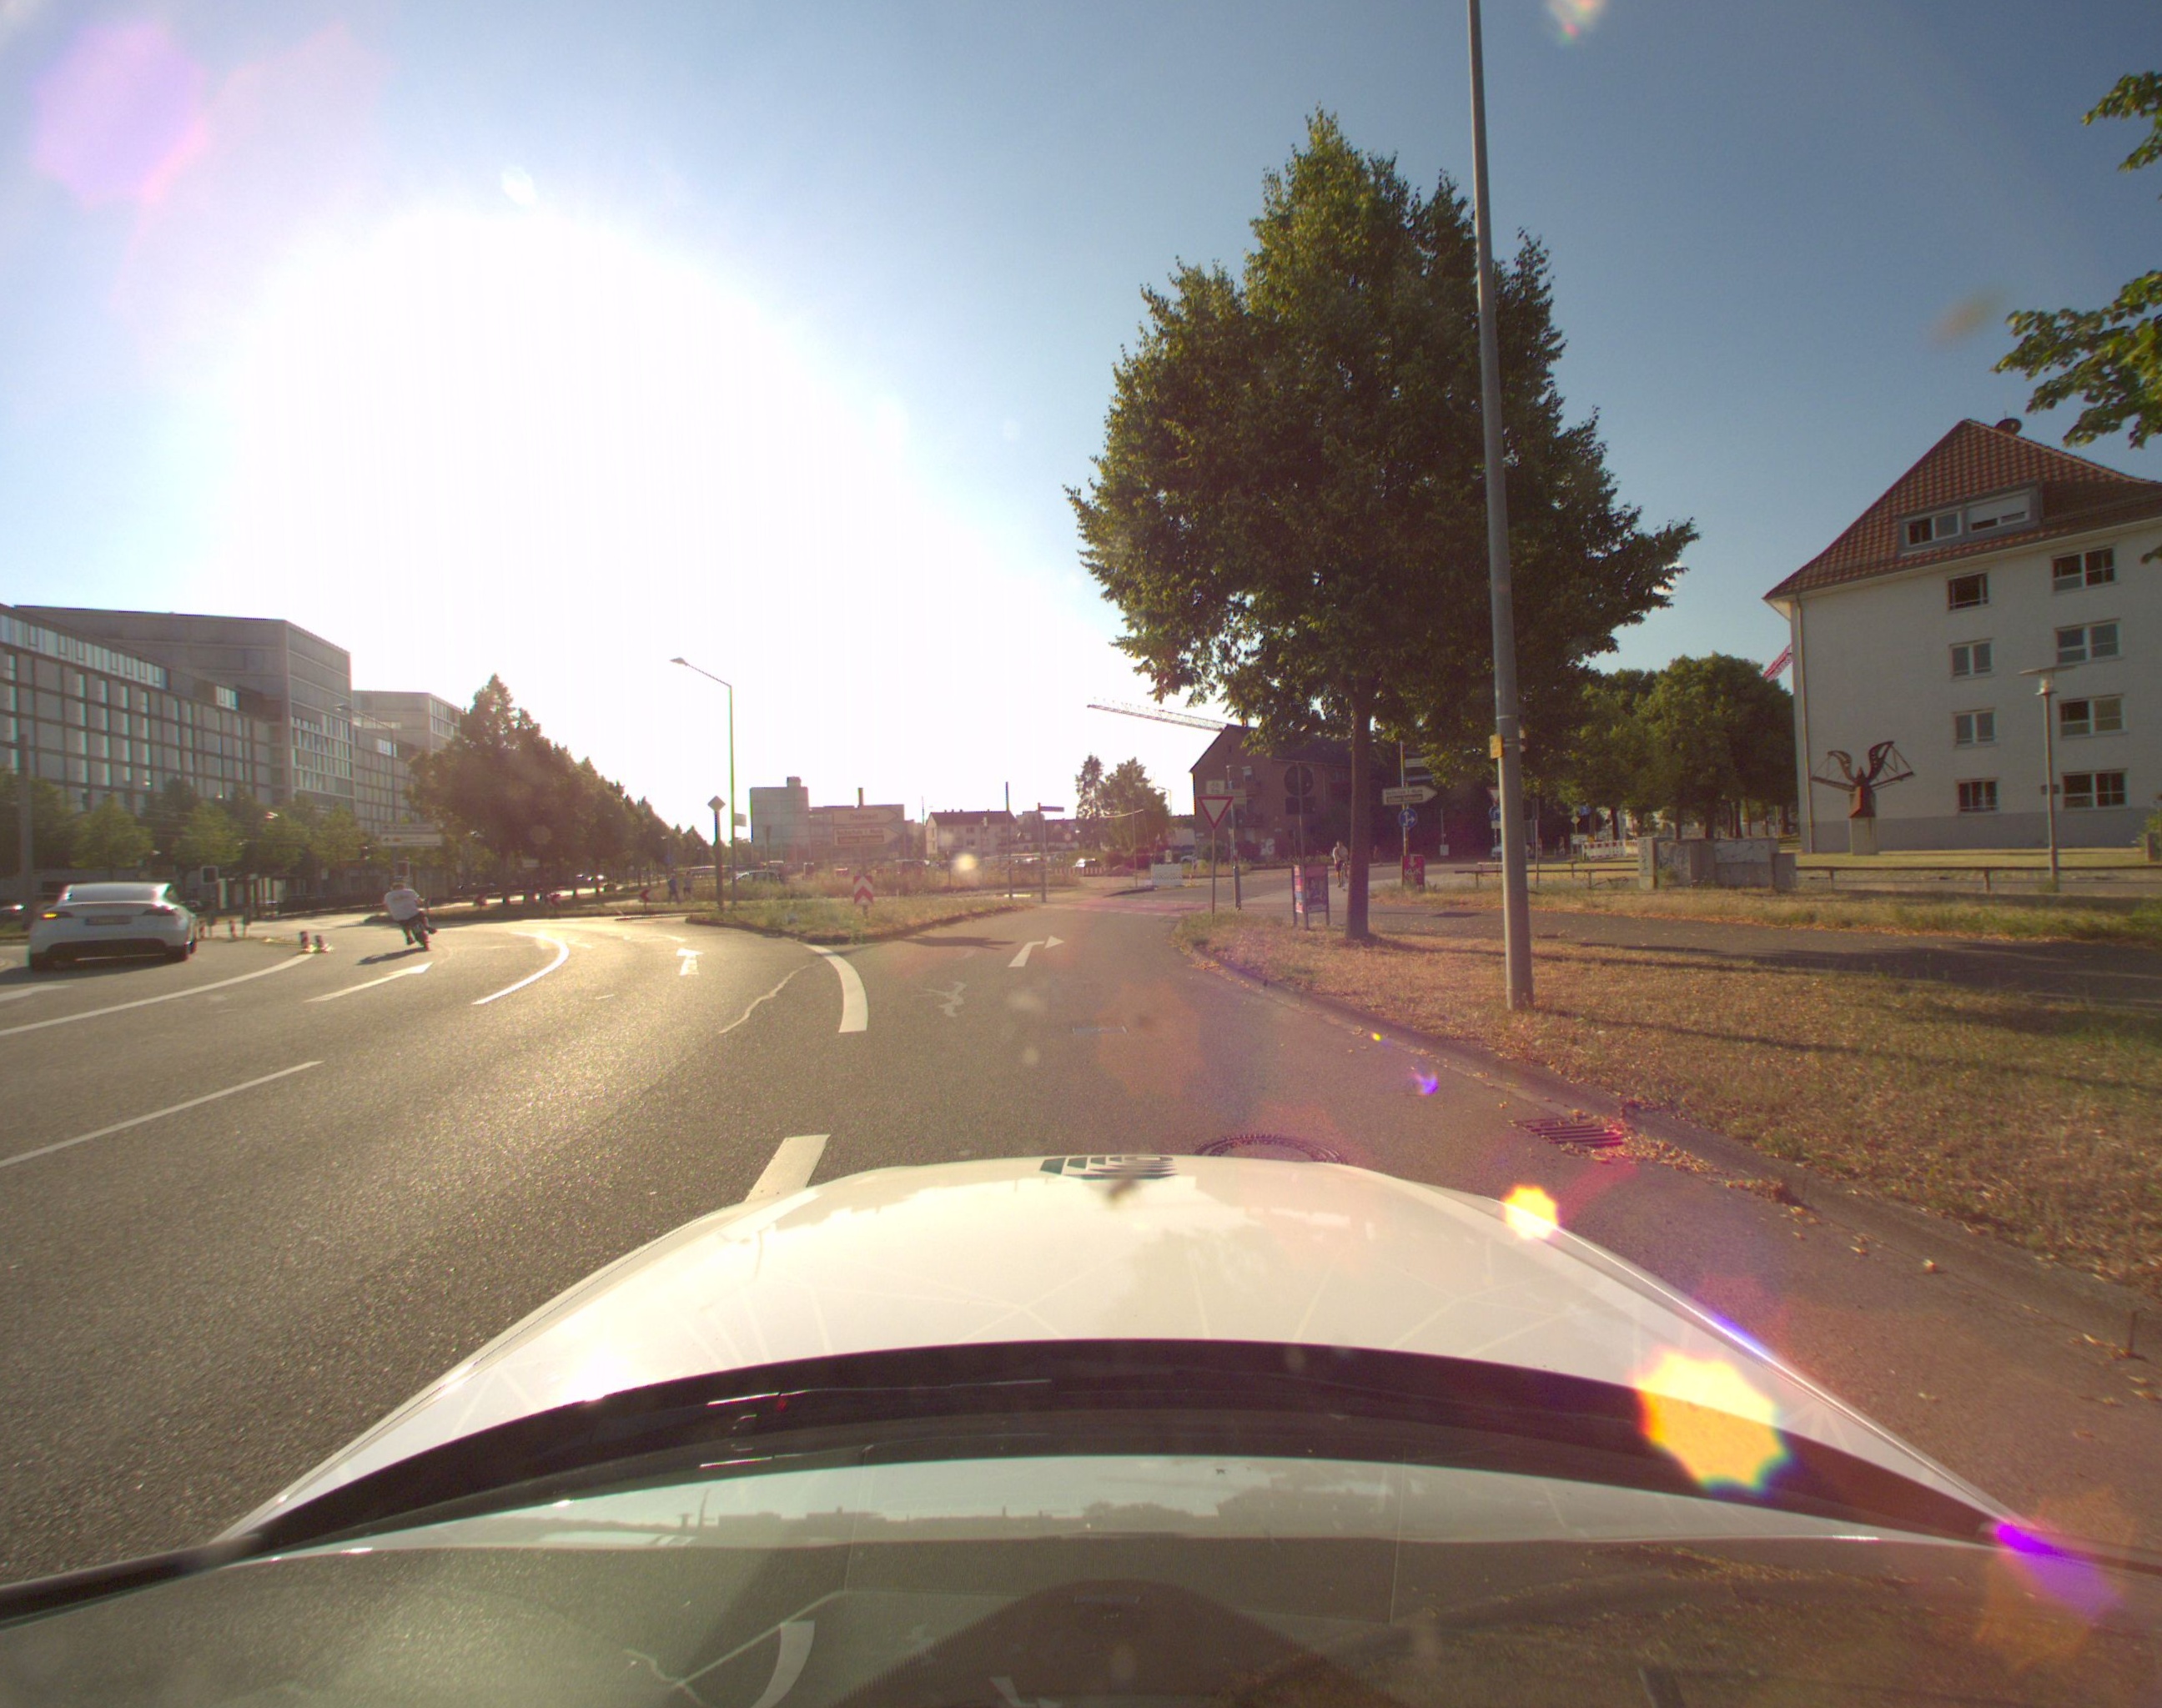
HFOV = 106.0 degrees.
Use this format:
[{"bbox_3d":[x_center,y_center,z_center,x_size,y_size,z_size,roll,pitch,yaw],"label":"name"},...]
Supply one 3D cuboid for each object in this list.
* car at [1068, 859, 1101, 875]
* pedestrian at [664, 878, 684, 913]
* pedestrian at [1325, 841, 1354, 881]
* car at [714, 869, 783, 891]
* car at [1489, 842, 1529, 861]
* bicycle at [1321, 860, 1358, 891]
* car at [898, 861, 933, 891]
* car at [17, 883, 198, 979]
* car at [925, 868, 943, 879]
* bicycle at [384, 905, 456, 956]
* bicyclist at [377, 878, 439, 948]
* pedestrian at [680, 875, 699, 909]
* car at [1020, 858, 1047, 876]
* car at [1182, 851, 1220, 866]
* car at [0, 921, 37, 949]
[{"bbox_3d":[0.309,1.324,83.179,2.001,1.552,3.972,-2,0,-21],"label":"car"},{"bbox_3d":[-20.884,2.108,41.814,0.786,1.709,0.807,-2,-1,-21],"label":"pedestrian"},{"bbox_3d":[9.429,0.250,29.676,0.644,1.391,0.772,-5,-2,43],"label":"pedestrian"},{"bbox_3d":[-23.688,1.834,57.984,4.260,1.363,1.980,-2,0,-32],"label":"car"},{"bbox_3d":[33.807,-0.219,64.311,3.646,1.421,1.743,-2,1,-44],"label":"car"},{"bbox_3d":[9.439,0.778,29.730,0.527,1.055,1.925,-3,-1,41],"label":"bicycle"},{"bbox_3d":[-12.358,1.598,61.132,1.991,2.013,5.302,-2,0,-6],"label":"car"},{"bbox_3d":[-19.354,1.439,16.386,3.950,1.575,2.012,-3,-1,44],"label":"car"},{"bbox_3d":[-26.024,3.432,144.047,2.155,1.838,4.328,-2,-1,-23],"label":"car"},{"bbox_3d":[-14.172,1.618,17.511,0.853,0.928,1.703,-2,0,-28],"label":"bicycle"},{"bbox_3d":[-14.374,1.244,17.415,0.872,1.410,0.623,-1,-1,-25],"label":"bicyclist"},{"bbox_3d":[-20.583,1.987,42.833,0.760,1.775,0.767,-2,-1,-19],"label":"pedestrian"},{"bbox_3d":[-5.738,1.578,97.651,1.872,1.948,3.967,-2,0,-25],"label":"car"},{"bbox_3d":[13.544,0.509,92.051,3.955,1.530,2.009,-3,0,17],"label":"car"},{"bbox_3d":[-66.933,5.081,50.042,1.558,1.574,3.327,-2,0,-10],"label":"car"}]
